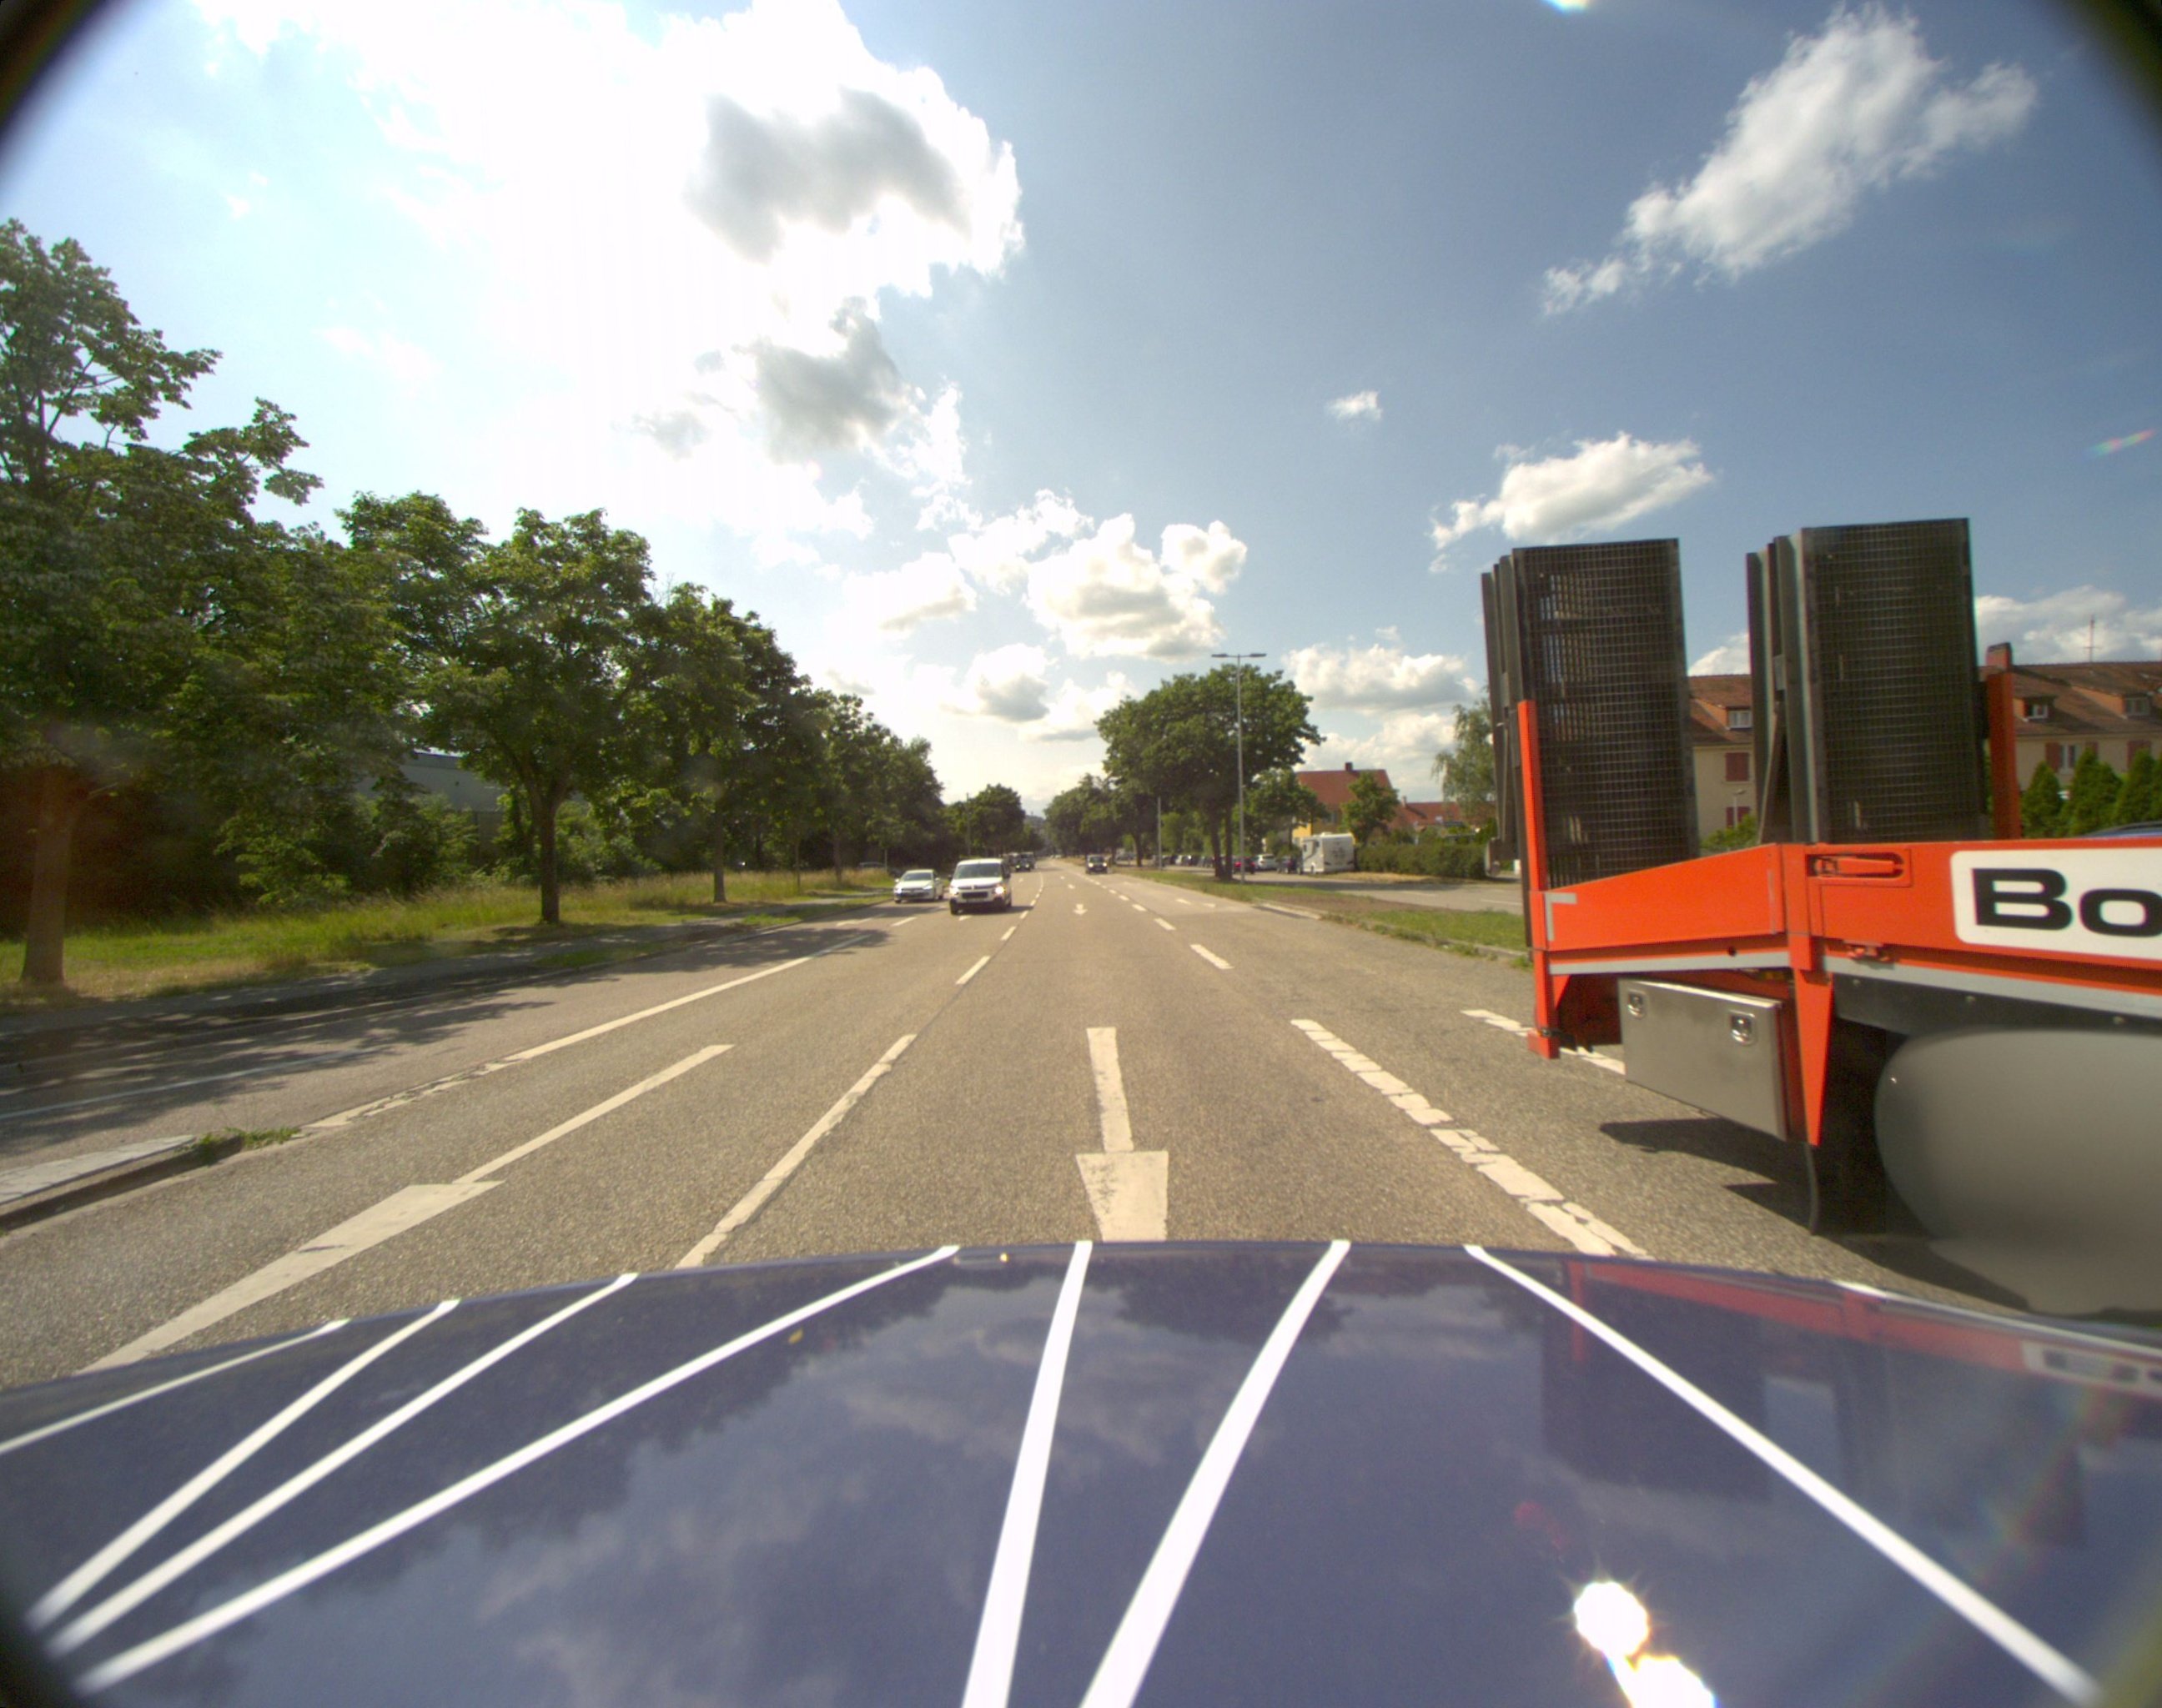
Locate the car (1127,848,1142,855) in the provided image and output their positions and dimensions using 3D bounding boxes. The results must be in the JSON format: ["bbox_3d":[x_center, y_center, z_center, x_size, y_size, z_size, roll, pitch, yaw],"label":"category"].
[{"bbox_3d":[13.643,-0.687,194.807,1.569,1.390,4.007,-2,2,44],"label":"car"}]

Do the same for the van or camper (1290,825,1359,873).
[{"bbox_3d":[17.245,-0.315,54.428,2.265,3.094,7.319,-4,0,-1],"label":"van or camper"}]

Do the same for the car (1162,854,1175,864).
[{"bbox_3d":[14.476,0.844,125.855,1.598,1.453,3.533,-4,1,-4],"label":"car"}]

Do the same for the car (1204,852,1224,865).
[{"bbox_3d":[16.043,0.525,91.986,1.406,1.387,4.355,-4,0,-3],"label":"car"}]

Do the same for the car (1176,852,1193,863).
[{"bbox_3d":[15.237,0.530,112.232,1.665,1.443,3.845,-4,1,-4],"label":"car"}]

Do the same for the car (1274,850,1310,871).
[{"bbox_3d":[16.991,0.511,61.379,1.640,1.477,3.991,-4,1,-1],"label":"car"}]

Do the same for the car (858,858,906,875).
[{"bbox_3d":[-18.605,1.178,71.147,4.176,1.484,1.784,1,-2,-7],"label":"car"}]

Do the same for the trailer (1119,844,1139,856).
[{"bbox_3d":[13.598,-1.212,214.583,2.821,3.090,5.763,-3,0,35],"label":"trailer"}]

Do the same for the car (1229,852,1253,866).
[{"bbox_3d":[17.103,0.511,81.301,1.515,1.362,4.530,-4,0,-1],"label":"car"}]

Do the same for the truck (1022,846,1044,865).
[{"bbox_3d":[-7.679,0.183,122.656,2.848,2.648,7.350,-4,1,1],"label":"truck"}]

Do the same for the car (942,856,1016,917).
[{"bbox_3d":[-3.377,1.035,26.063,1.936,1.774,4.715,-4,0,-2],"label":"car"}]

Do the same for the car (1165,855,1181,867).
[{"bbox_3d":[14.468,1.105,119.672,1.665,1.603,4.312,-4,1,-4],"label":"car"}]

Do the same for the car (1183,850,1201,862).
[{"bbox_3d":[15.332,0.275,105.137,1.665,1.473,4.102,-4,0,-4],"label":"car"}]

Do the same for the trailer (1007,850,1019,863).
[{"bbox_3d":[-13.311,0.539,149.154,1.999,2.352,4.780,2,1,-3],"label":"trailer"}]

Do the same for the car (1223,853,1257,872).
[{"bbox_3d":[13.037,0.690,62.399,1.776,1.430,4.575,-1,1,0],"label":"car"}]

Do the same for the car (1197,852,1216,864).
[{"bbox_3d":[15.927,0.486,96.346,1.567,1.387,3.476,-4,1,-3],"label":"car"}]

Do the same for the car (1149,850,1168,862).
[{"bbox_3d":[9.895,0.257,97.677,1.737,1.499,4.650,1,1,-3],"label":"car"}]

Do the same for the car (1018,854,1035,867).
[{"bbox_3d":[-6.938,0.860,97.277,1.758,1.482,3.999,-4,1,1],"label":"car"}]

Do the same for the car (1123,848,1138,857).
[{"bbox_3d":[12.867,-0.481,197.549,1.800,2.002,4.007,-2,2,44],"label":"car"}]

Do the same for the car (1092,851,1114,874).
[{"bbox_3d":[2.007,0.793,71.132,1.768,1.893,4.539,-4,1,-1],"label":"car"}]

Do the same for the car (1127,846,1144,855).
[{"bbox_3d":[13.563,-0.872,189.594,1.800,2.002,4.007,-2,2,44],"label":"car"}]

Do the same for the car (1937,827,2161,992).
[{"bbox_3d":[11.870,0.548,7.733,1.799,1.679,3.999,-1,0,-1],"label":"car"}]

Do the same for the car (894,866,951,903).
[{"bbox_3d":[-7.246,1.365,35.182,1.737,1.477,4.092,-2,0,0],"label":"car"}]

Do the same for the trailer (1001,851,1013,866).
[{"bbox_3d":[-12.430,0.724,128.354,1.958,2.338,4.603,-1,1,-4],"label":"trailer"}]

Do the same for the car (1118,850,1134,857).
[{"bbox_3d":[11.990,-0.140,202.483,3.998,1.502,1.799,-4,1,-2],"label":"car"}]

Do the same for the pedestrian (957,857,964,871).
[{"bbox_3d":[-15.425,1.262,96.951,0.719,1.784,0.739,-4,2,-4],"label":"pedestrian"}]

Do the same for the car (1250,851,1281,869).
[{"bbox_3d":[16.931,0.494,69.942,1.693,1.477,4.123,-4,1,-1],"label":"car"}]
